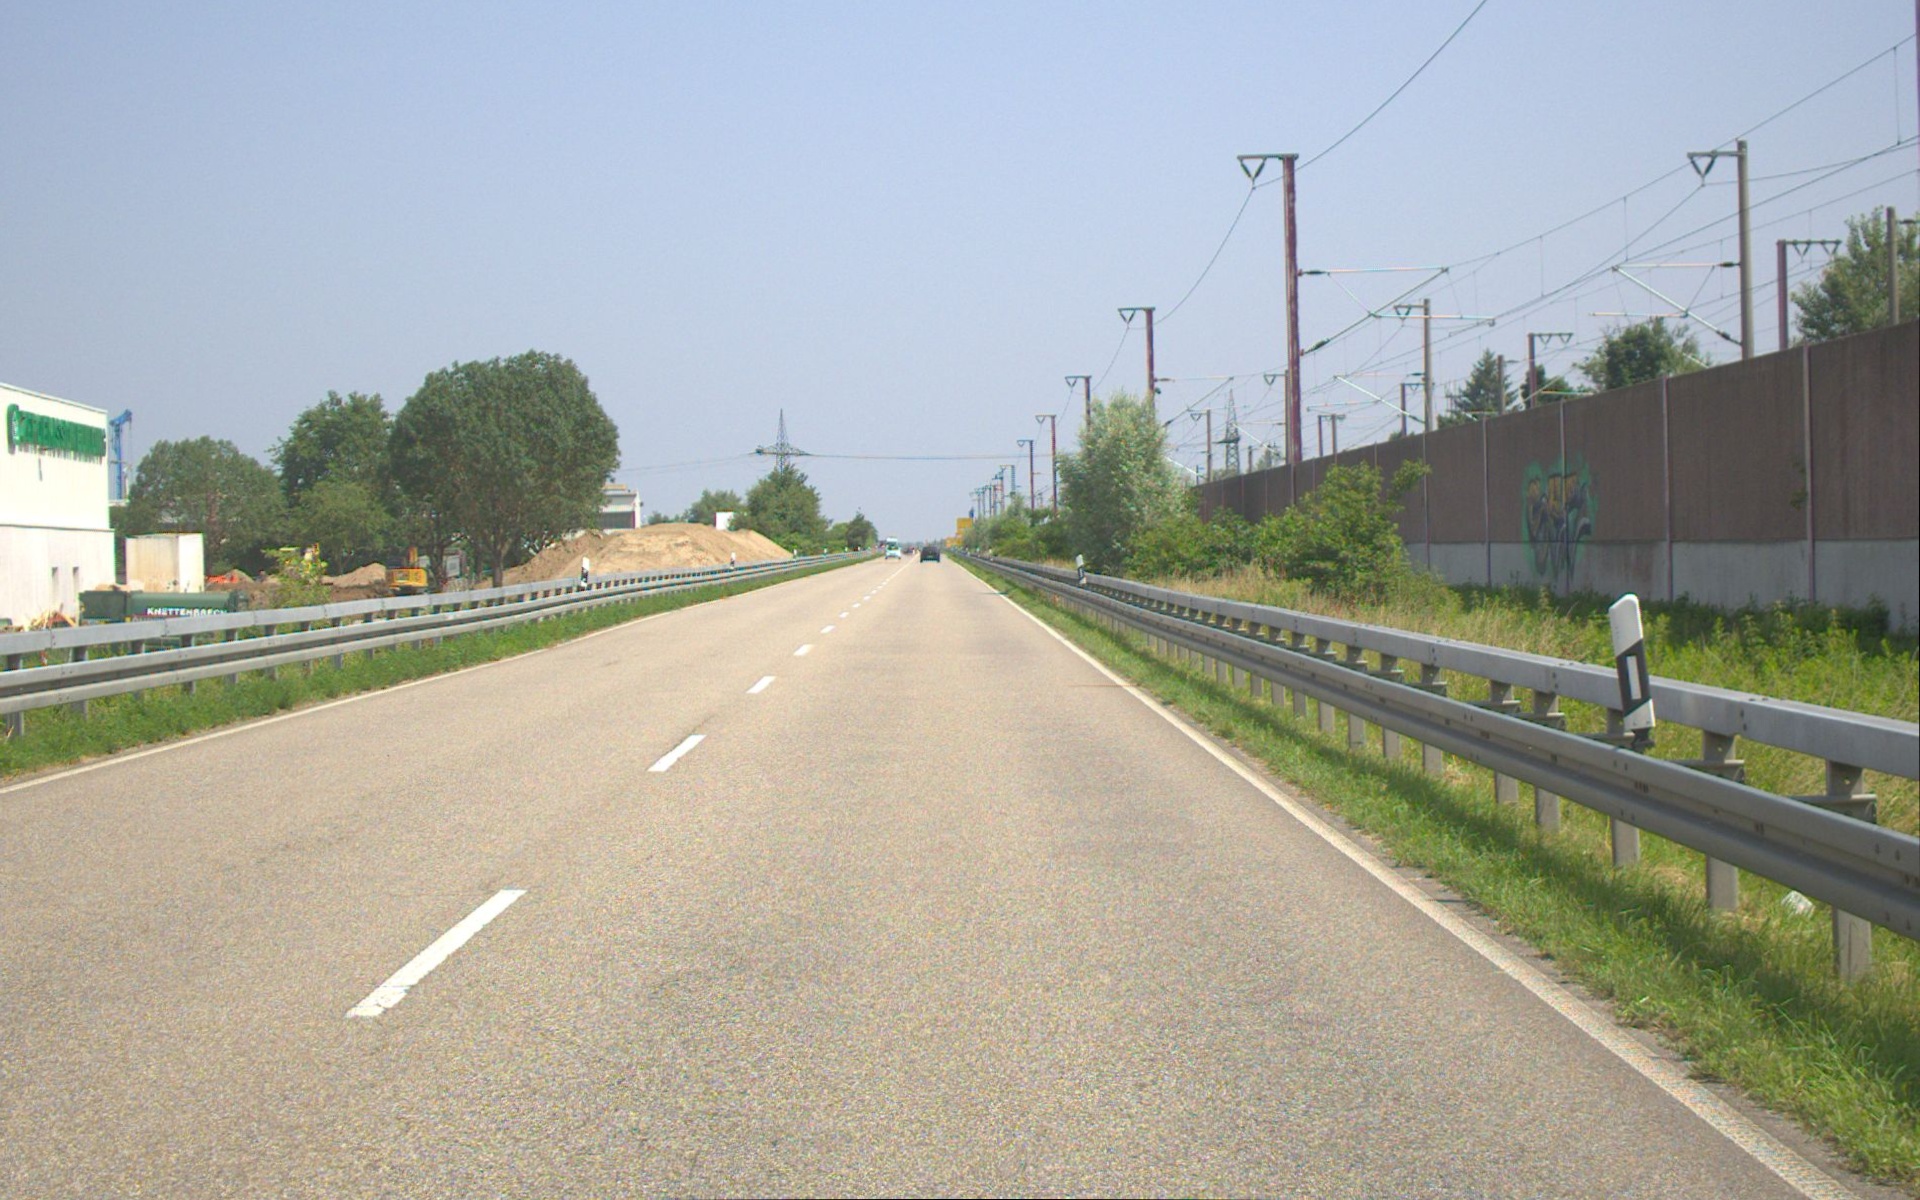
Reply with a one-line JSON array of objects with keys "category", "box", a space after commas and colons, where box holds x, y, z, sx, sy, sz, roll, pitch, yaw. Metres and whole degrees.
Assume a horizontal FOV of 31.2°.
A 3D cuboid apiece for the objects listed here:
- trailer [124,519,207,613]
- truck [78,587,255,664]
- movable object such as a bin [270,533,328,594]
[{"category": "trailer", "box": [-37.888, -1.664, 164.074, 2.678, 4.317, 7.954, 0, 2, -5]}, {"category": "truck", "box": [-24.779, 0.786, 107.424, 5.008, 2.325, 2.233, 0, 1, 0]}, {"category": "movable object such as a bin", "box": [-41.633, -2.295, 216.363, 2.620, 3.640, 5.462, -3, 1, -19]}]
